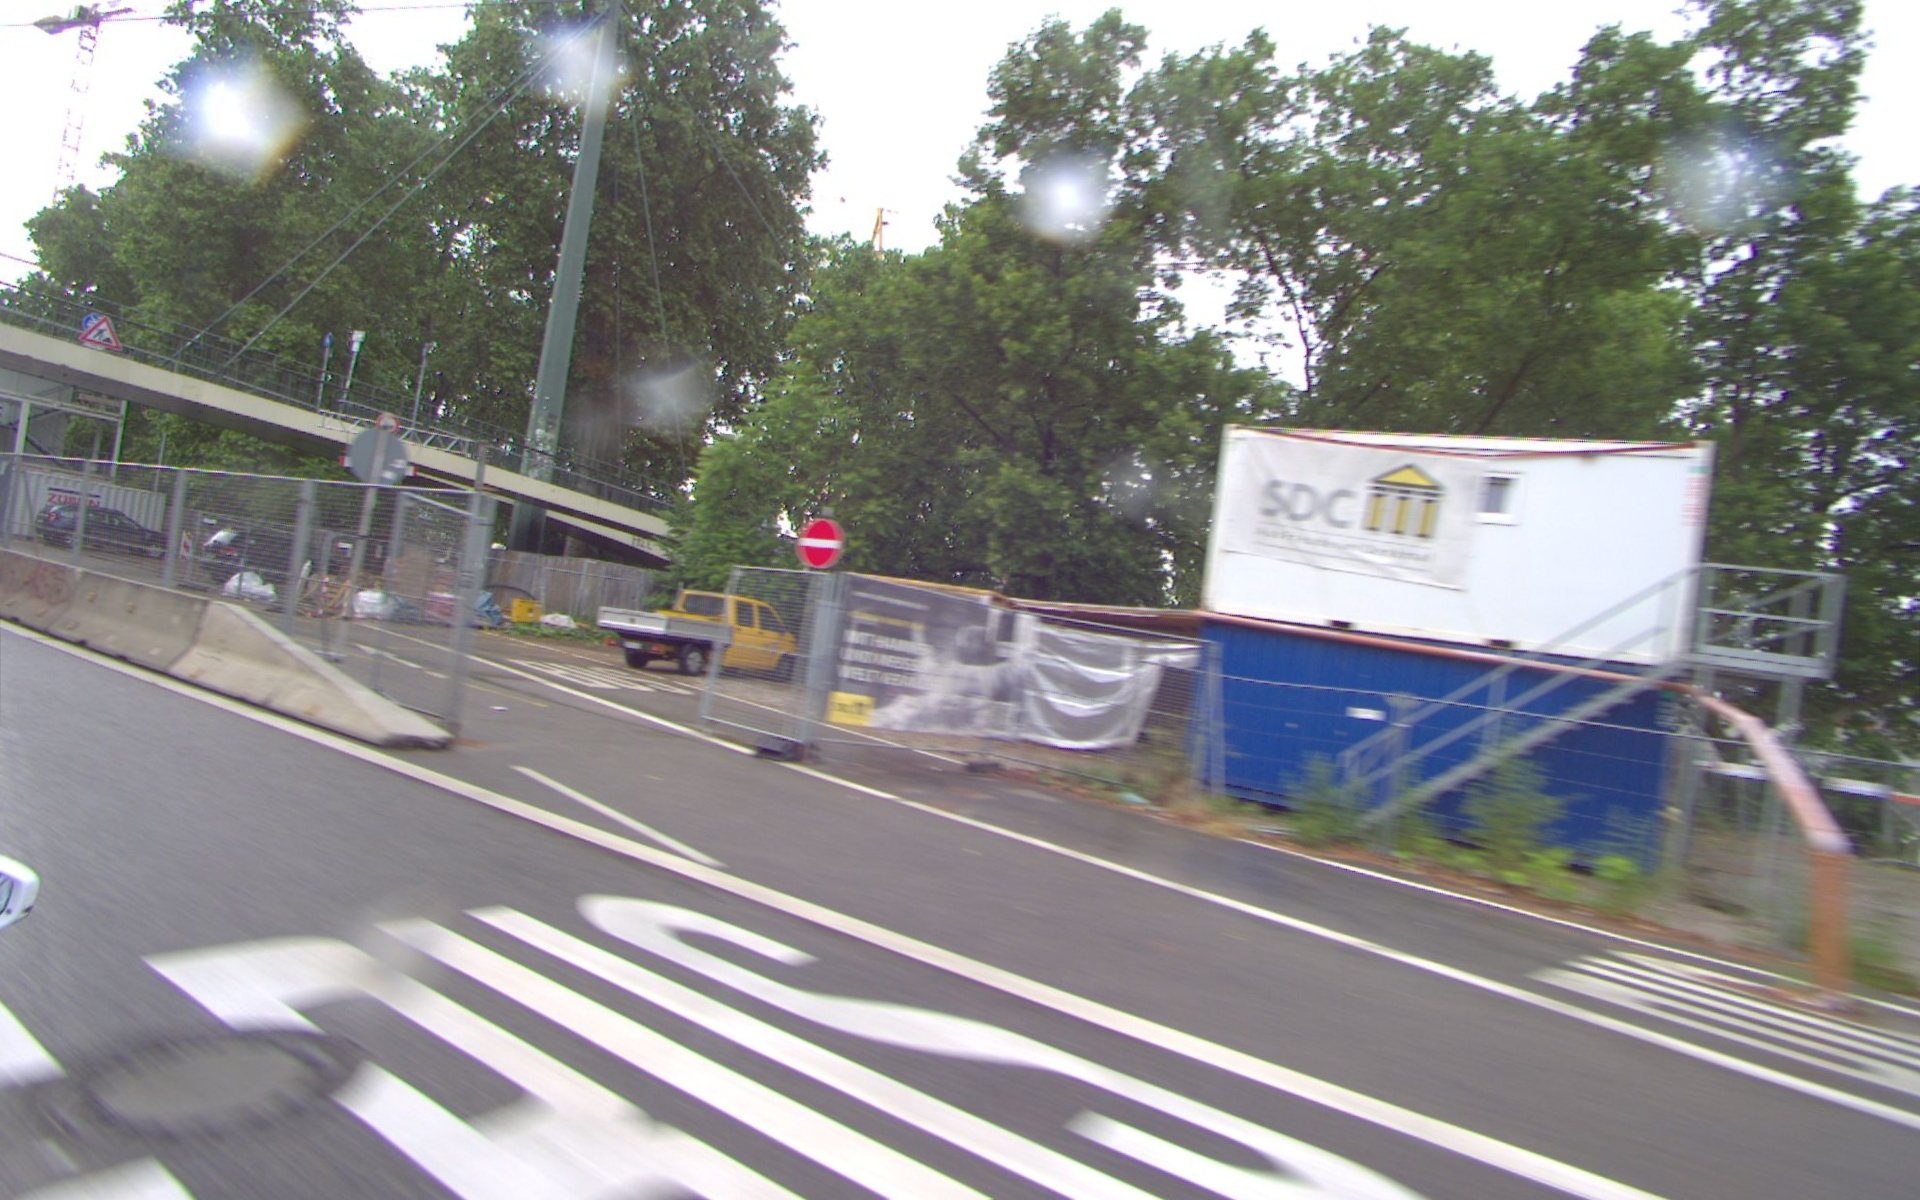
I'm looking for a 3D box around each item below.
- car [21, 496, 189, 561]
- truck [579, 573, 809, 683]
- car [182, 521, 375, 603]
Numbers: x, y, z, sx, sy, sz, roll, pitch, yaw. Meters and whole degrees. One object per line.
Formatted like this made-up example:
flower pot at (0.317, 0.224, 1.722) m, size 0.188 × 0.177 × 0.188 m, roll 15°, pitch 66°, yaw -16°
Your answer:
car at (-33.271, -2.750, 39.312) m, size 1.757 × 1.647 × 4.555 m, roll 9°, pitch -1°, yaw 30°
truck at (-6.147, 0.767, 24.039) m, size 2.366 × 2.036 × 5.171 m, roll 6°, pitch -3°, yaw 25°
car at (-21.317, -1.133, 31.697) m, size 1.965 × 1.747 × 4.514 m, roll 8°, pitch -2°, yaw 27°
